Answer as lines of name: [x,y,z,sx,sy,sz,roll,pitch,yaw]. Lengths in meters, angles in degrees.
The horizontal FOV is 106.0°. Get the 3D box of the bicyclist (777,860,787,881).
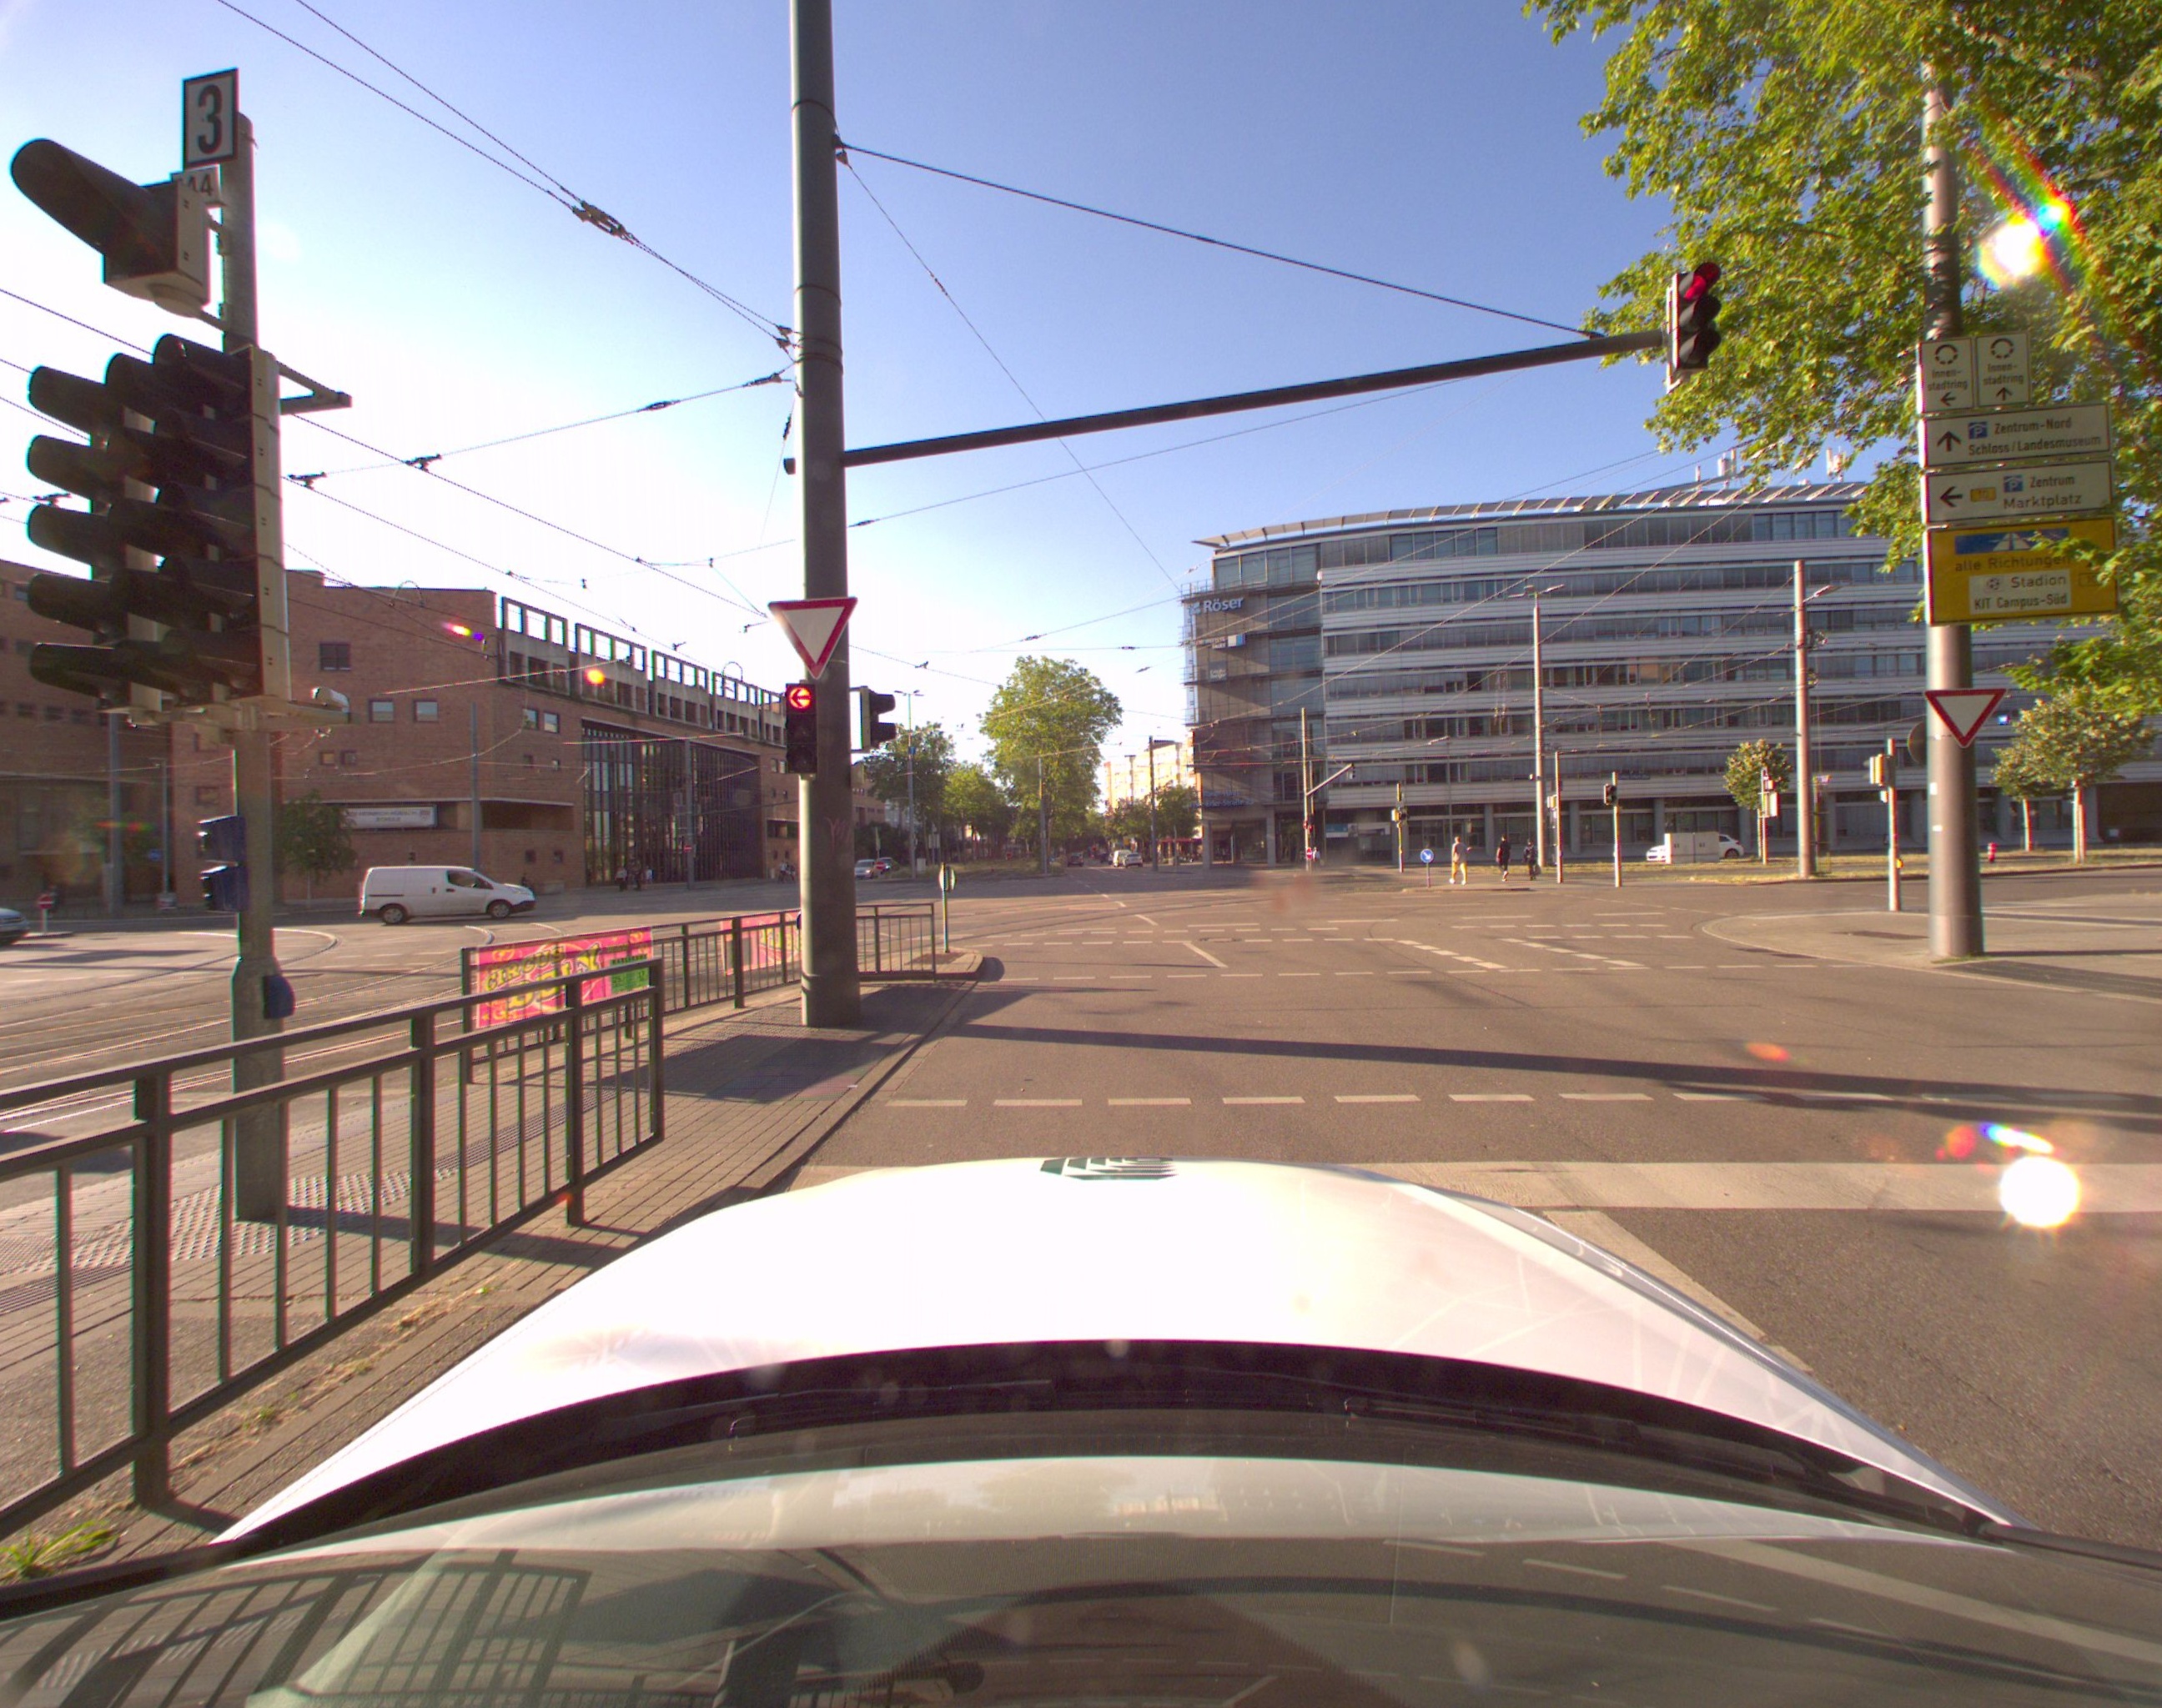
bicyclist: [-24.336,1.330,66.293,0.534,1.731,0.581,-2,0,1]

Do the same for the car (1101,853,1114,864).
car: [4.088,0.658,126.772,1.986,1.618,4.002,-2,0,2]

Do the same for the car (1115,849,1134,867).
car: [4.740,0.382,89.635,1.986,1.860,4.002,-2,0,2]

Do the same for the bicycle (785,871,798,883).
bicycle: [-23.615,1.857,66.459,0.471,0.963,1.576,-2,0,2]

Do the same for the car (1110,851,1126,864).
car: [4.816,0.479,105.290,1.986,1.618,4.002,-2,0,2]

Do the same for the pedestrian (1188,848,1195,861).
pedestrian: [14.174,0.055,104.815,0.741,1.714,0.612,-2,0,1]

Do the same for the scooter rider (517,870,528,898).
scooter rider: [-33.725,1.808,49.183,0.441,1.647,0.226,-2,0,-44]

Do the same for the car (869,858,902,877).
car: [-18.117,1.231,75.518,1.987,1.640,4.001,-2,0,1]

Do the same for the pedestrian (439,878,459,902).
pedestrian: [-36.539,2.075,47.087,0.597,1.339,0.684,-2,0,17]

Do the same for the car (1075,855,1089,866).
car: [0.137,0.852,111.660,1.791,1.442,4.002,-2,0,2]

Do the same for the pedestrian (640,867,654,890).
pedestrian: [-31.615,1.808,59.322,0.606,1.625,0.621,-2,0,15]

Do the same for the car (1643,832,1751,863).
car: [32.720,-0.331,43.353,4.271,1.488,1.765,-2,0,8]

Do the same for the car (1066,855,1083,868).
car: [-0.756,0.886,99.158,1.791,1.442,4.002,-2,0,2]

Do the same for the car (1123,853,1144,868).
car: [5.287,0.621,82.817,1.986,1.376,4.002,-2,0,2]

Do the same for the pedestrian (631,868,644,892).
pedestrian: [-31.475,1.855,57.745,0.589,1.683,0.550,-2,0,-5]

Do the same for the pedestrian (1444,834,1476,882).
pedestrian: [14.480,0.151,31.113,0.858,1.788,0.874,-2,0,9]

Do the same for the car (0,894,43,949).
car: [-31.012,1.908,21.693,4.088,1.426,1.628,-2,0,-9]

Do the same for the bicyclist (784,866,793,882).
bicyclist: [-24.877,1.691,69.314,0.503,1.304,0.581,-2,0,1]

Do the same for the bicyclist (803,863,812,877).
bicyclist: [-24.277,1.445,72.299,0.503,1.179,0.581,-2,0,1]

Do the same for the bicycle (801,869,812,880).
bicycle: [-24.366,1.796,72.273,0.449,0.963,1.348,-2,0,2]

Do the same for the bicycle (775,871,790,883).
bicycle: [-24.323,1.879,66.305,0.540,0.963,1.587,-2,0,2]

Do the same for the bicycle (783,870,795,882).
bicycle: [-24.885,1.862,69.332,0.466,0.963,1.320,-2,0,2]

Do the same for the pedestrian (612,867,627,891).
pedestrian: [-32.549,1.765,57.477,0.647,1.683,0.622,-2,0,-2]

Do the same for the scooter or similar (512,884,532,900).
scooter or similar: [-33.730,2.280,49.143,0.956,0.899,0.173,-2,0,-45]

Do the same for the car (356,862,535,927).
car: [-21.000,1.284,27.202,4.543,1.867,1.743,-2,0,-34]

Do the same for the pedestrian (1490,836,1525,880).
pedestrian: [16.952,0.160,32.378,0.907,1.685,1.038,-2,0,9]

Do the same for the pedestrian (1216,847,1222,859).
pedestrian: [20.869,-0.165,122.978,0.741,1.714,0.612,-2,0,1]

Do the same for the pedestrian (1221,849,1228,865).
pedestrian: [13.396,0.273,76.149,0.608,1.507,0.580,-2,0,9]

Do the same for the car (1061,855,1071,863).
car: [-2.728,0.867,148.173,1.792,1.442,4.000,-2,0,0]

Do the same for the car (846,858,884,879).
car: [-18.008,1.191,67.947,1.987,1.640,4.001,-2,0,1]

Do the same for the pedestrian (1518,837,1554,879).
pedestrian: [17.919,0.155,32.104,0.943,1.564,0.899,-2,0,9]

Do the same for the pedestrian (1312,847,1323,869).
pedestrian: [15.995,0.273,55.015,0.608,1.507,0.580,-2,0,9]

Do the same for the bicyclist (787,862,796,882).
bicyclist: [-23.622,1.431,66.520,0.456,1.603,0.581,-2,0,1]

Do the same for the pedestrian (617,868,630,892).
pedestrian: [-33.399,1.884,59.466,0.568,1.683,0.551,-2,0,9]
